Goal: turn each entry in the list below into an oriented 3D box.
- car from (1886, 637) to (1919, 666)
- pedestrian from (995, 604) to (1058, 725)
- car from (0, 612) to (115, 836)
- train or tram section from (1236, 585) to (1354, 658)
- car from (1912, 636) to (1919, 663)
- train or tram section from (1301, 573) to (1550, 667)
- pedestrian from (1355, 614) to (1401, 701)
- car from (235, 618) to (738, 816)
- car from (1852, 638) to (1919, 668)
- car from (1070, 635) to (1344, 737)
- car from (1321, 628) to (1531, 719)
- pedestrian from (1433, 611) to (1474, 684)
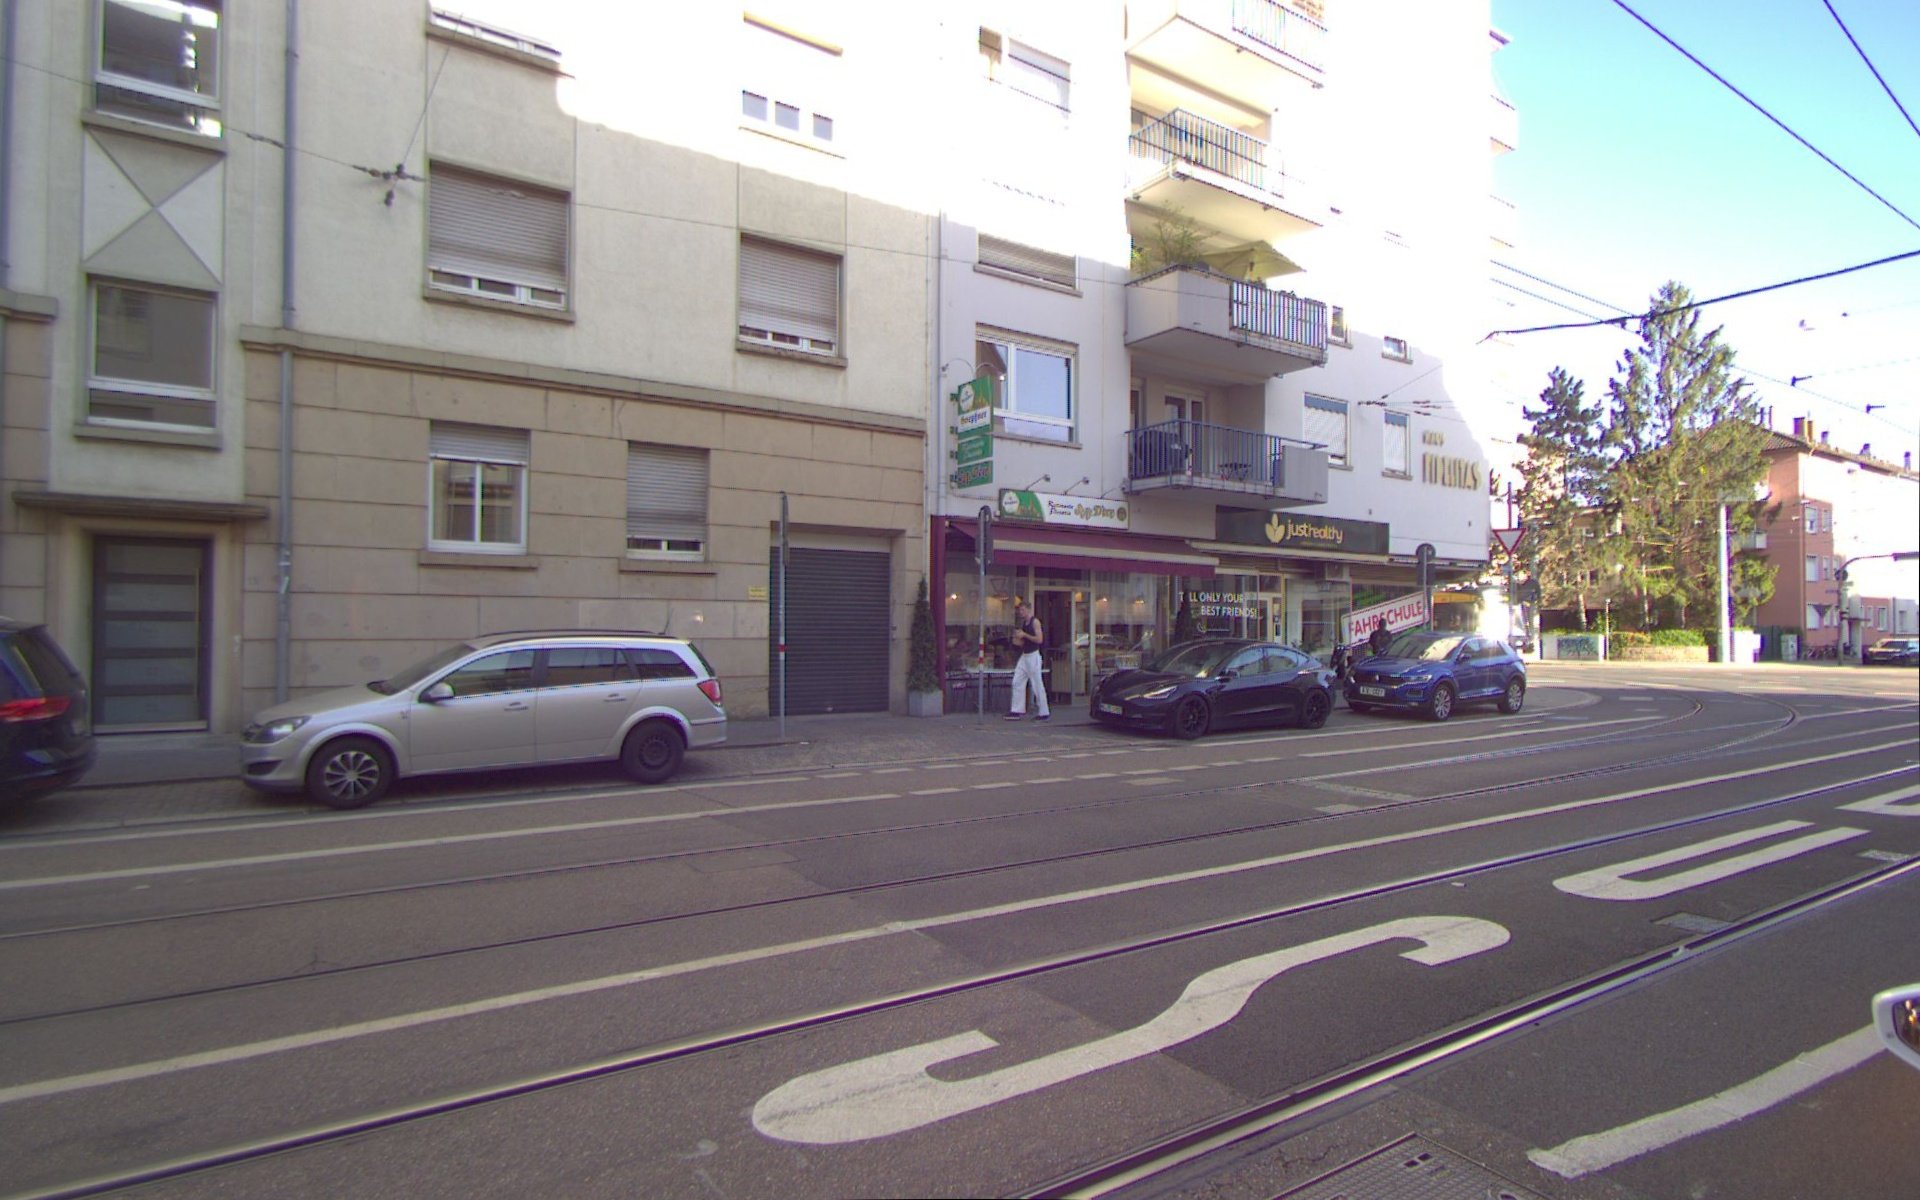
[{"bbox_3d":[54.309,2.913,56.740,4.250,1.518,1.806,2,0,-30],"label":"car"},{"bbox_3d":[1.045,0.999,15.809,0.725,1.857,0.595,2,0,-30],"label":"pedestrian"},{"bbox_3d":[-9.018,0.888,7.247,4.249,1.606,1.893,2,0,-35],"label":"car"},{"bbox_3d":[18.499,1.097,56.180,2.781,3.679,9.077,1,0,-5],"label":"train or tram section"},{"bbox_3d":[58.064,2.950,59.245,4.103,1.531,1.778,2,0,-31],"label":"car"},{"bbox_3d":[20.389,0.964,45.537,3.020,3.641,12.596,1,-2,-14],"label":"train or tram section"},{"bbox_3d":[9.062,1.237,21.790,0.691,1.829,0.568,2,0,-30],"label":"pedestrian"},{"bbox_3d":[-4.706,1.038,10.316,4.319,1.580,1.981,2,0,-34],"label":"car"},{"bbox_3d":[49.611,2.827,53.687,3.949,1.440,1.784,2,0,-31],"label":"car"},{"bbox_3d":[4.019,1.274,16.064,4.382,1.405,1.810,1,-2,-34],"label":"car"},{"bbox_3d":[8.926,1.322,19.176,4.030,1.552,1.858,1,-2,-34],"label":"car"},{"bbox_3d":[14.081,1.352,28.671,0.688,2.040,0.764,2,0,-35],"label":"pedestrian"}]
